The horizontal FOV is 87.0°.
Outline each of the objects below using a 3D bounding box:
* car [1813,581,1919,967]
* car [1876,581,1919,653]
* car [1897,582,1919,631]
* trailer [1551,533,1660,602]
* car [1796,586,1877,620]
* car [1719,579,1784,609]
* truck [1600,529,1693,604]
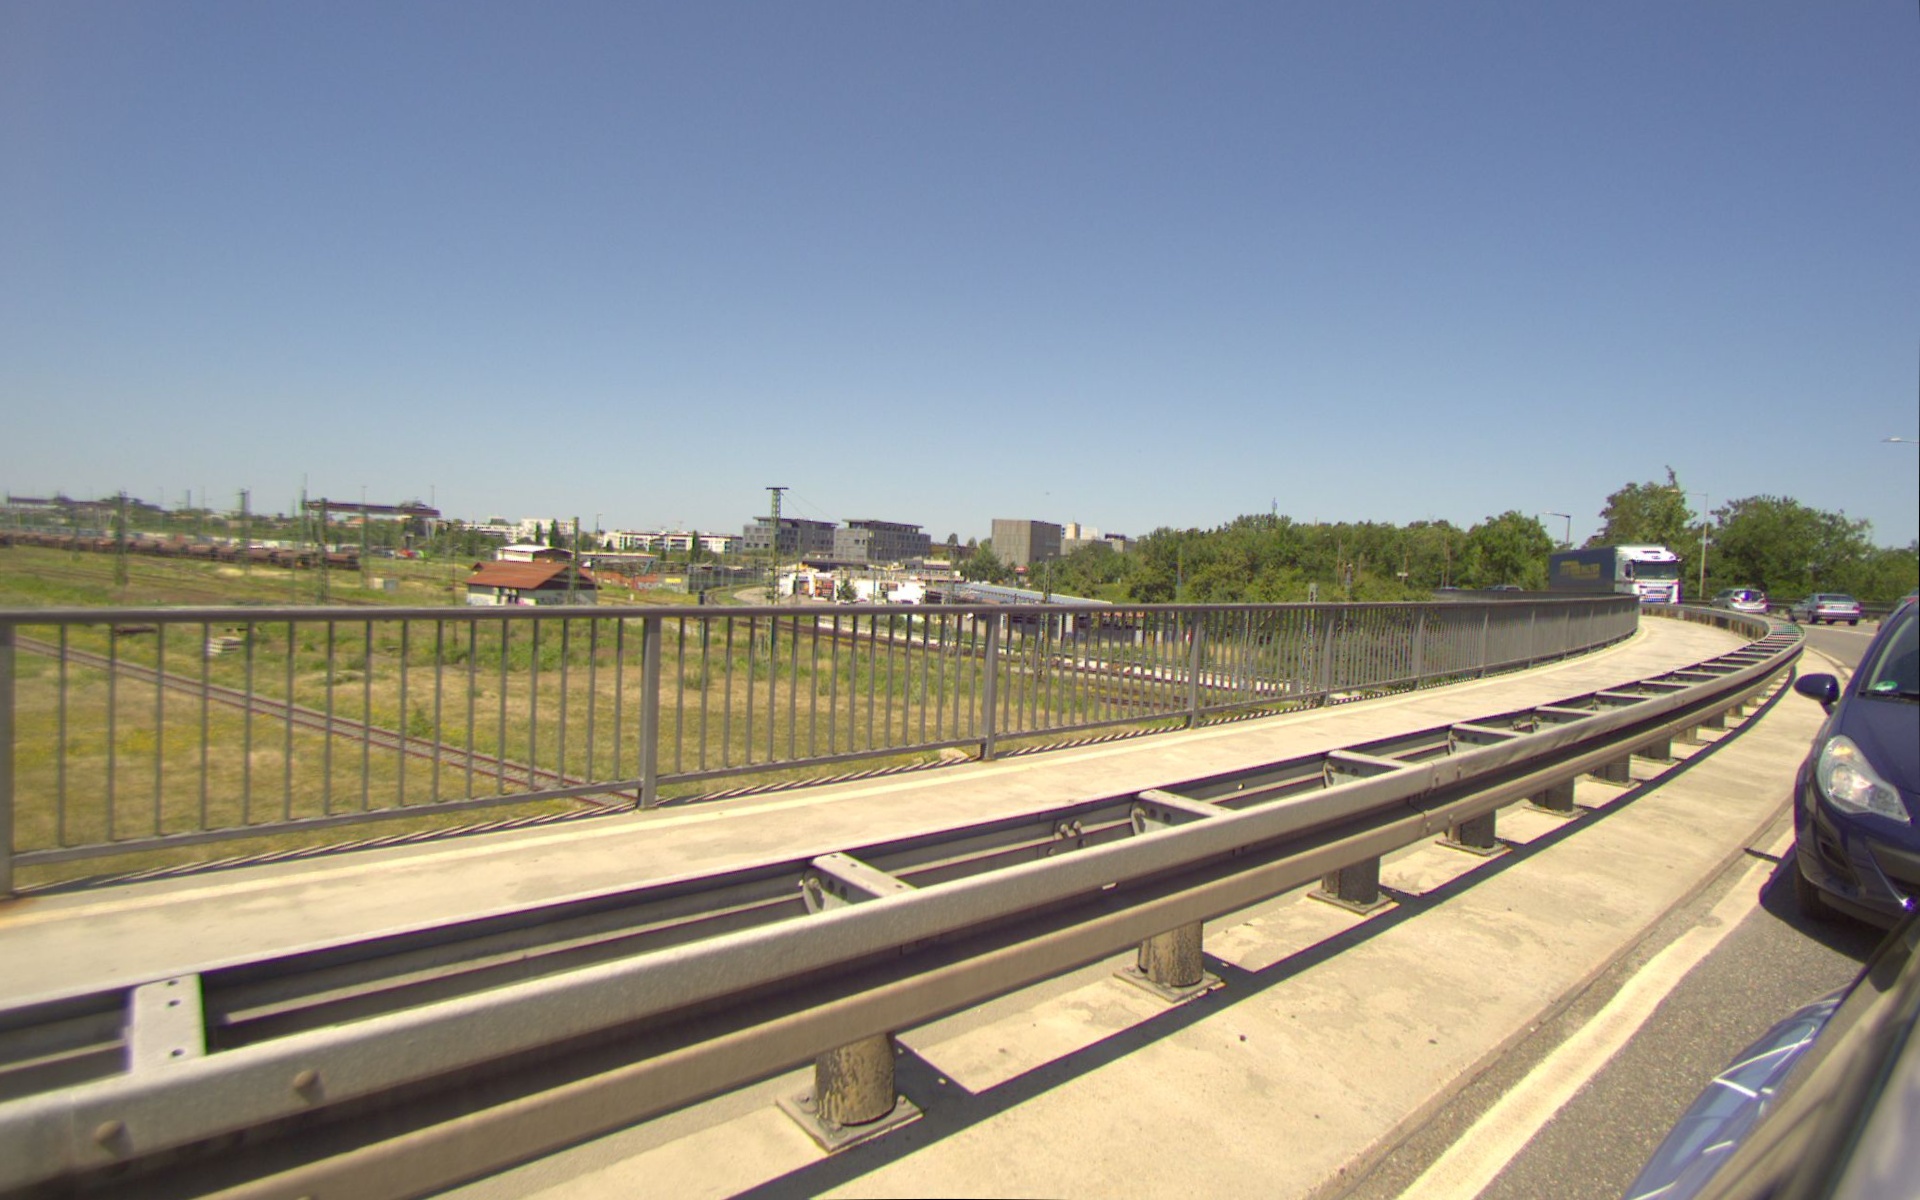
[{"bbox_3d":[5.364,0.647,4.855,1.641,1.457,3.936,1,1,45],"label":"car"},{"bbox_3d":[21.716,0.357,22.267,1.785,1.473,4.465,1,1,36],"label":"car"},{"bbox_3d":[33.628,0.227,34.296,1.791,1.661,4.256,1,1,29],"label":"car"},{"bbox_3d":[43.620,-2.159,68.936,2.664,4.287,12.652,0,1,16],"label":"trailer"},{"bbox_3d":[39.035,0.088,45.182,1.685,1.393,3.965,1,2,26],"label":"car"},{"bbox_3d":[44.176,-0.367,56.604,1.722,1.599,4.147,1,2,22],"label":"car"},{"bbox_3d":[41.493,-1.969,61.401,2.659,4.281,6.805,-1,1,16],"label":"truck"}]
